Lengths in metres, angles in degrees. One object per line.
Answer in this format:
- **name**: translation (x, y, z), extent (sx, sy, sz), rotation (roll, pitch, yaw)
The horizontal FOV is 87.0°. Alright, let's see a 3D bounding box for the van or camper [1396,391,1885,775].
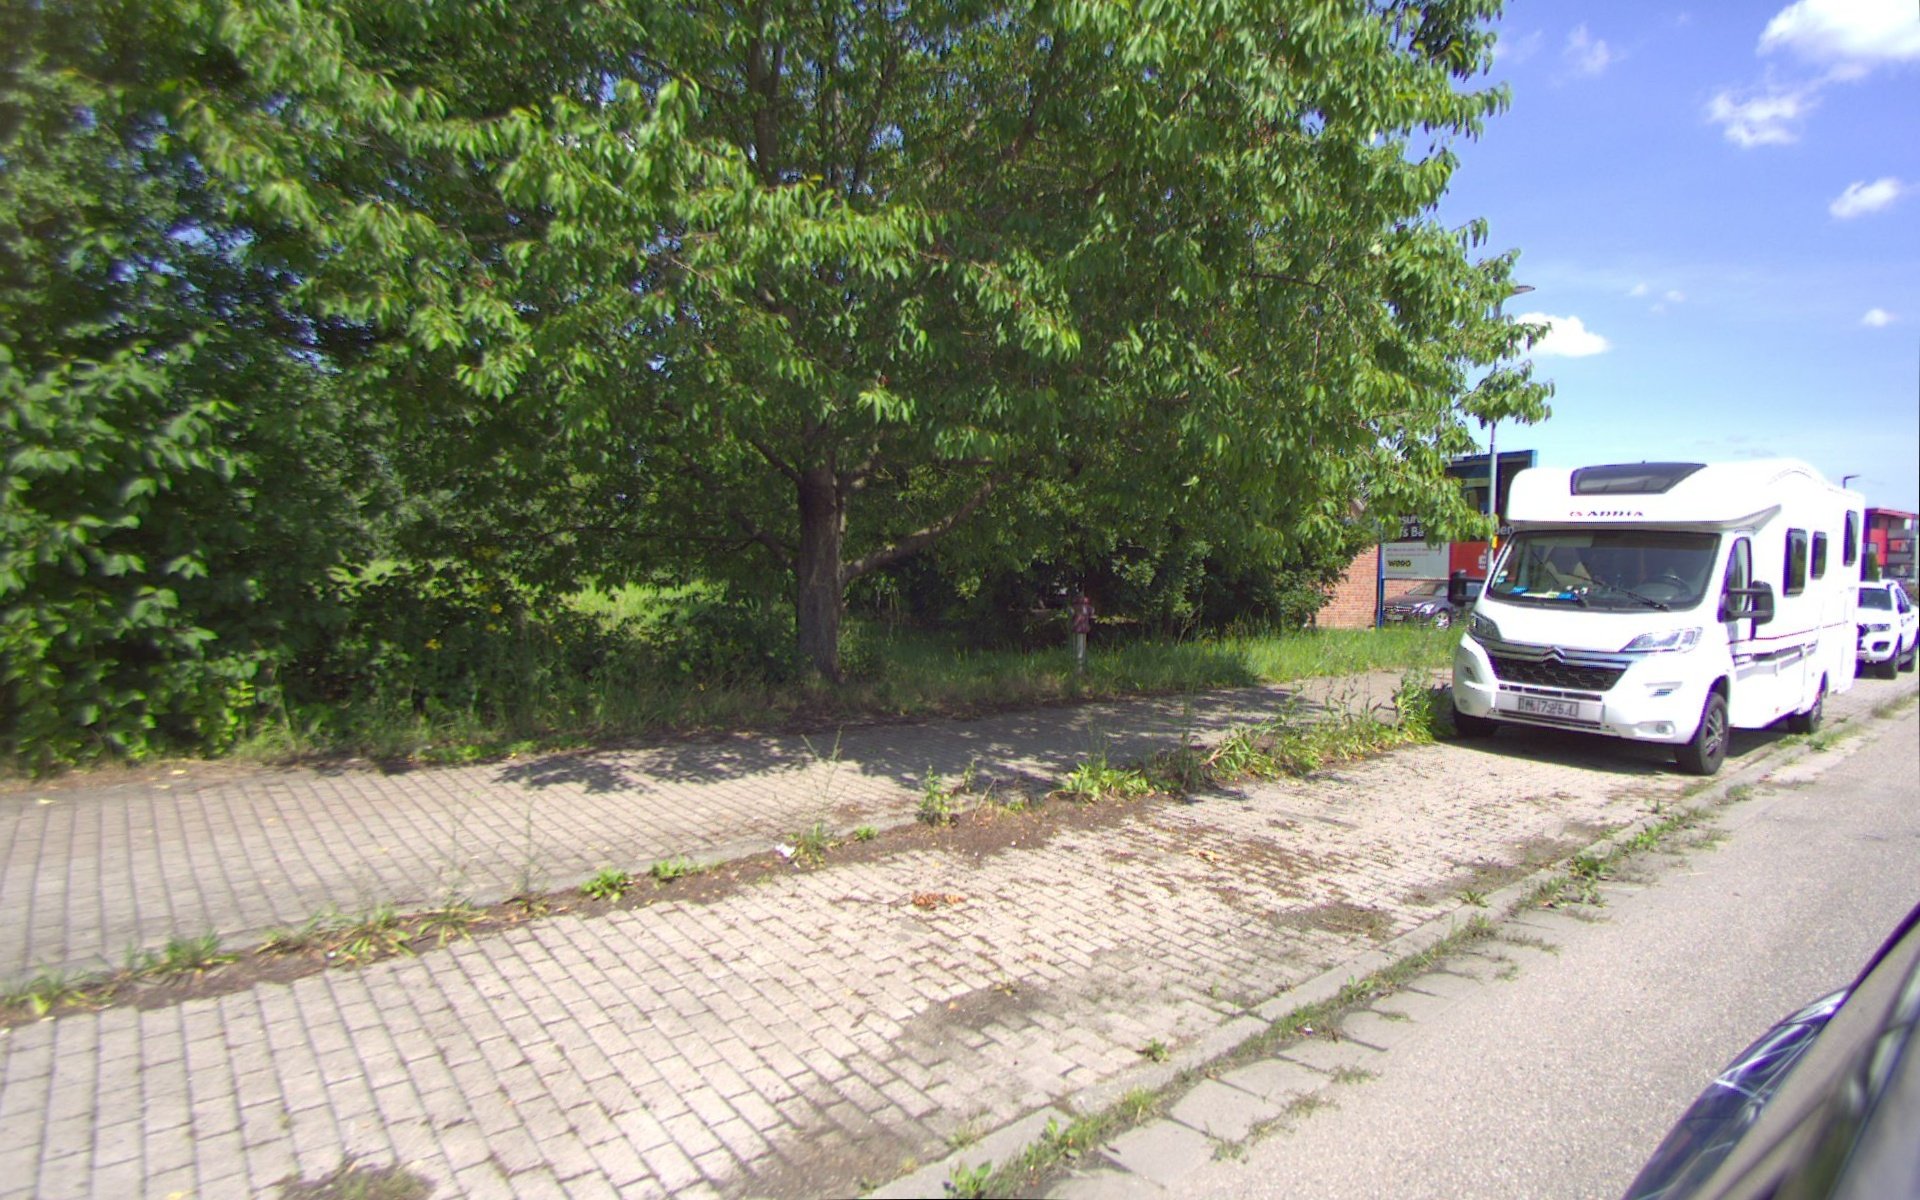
- **van or camper**: translation (7.725, -0.200, 10.950), extent (7.491, 2.861, 2.444), rotation (0, 3, -41)

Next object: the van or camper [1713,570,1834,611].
- **van or camper**: translation (54.253, -0.676, 67.661), extent (2.091, 2.467, 5.850), rotation (1, 2, -30)

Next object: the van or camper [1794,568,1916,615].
- **van or camper**: translation (54.078, -0.552, 61.268), extent (1.959, 2.565, 5.118), rotation (1, 2, -27)

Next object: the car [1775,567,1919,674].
- **car**: translation (18.244, 0.340, 20.467), extent (5.332, 1.836, 1.851), rotation (0, 4, -42)

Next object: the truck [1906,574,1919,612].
- **truck**: translation (72.816, -0.477, 75.119), extent (5.670, 2.721, 2.388), rotation (1, 2, -32)

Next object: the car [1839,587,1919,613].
- **car**: translation (62.563, -0.010, 68.367), extent (1.684, 1.505, 4.605), rotation (0, 3, -40)
